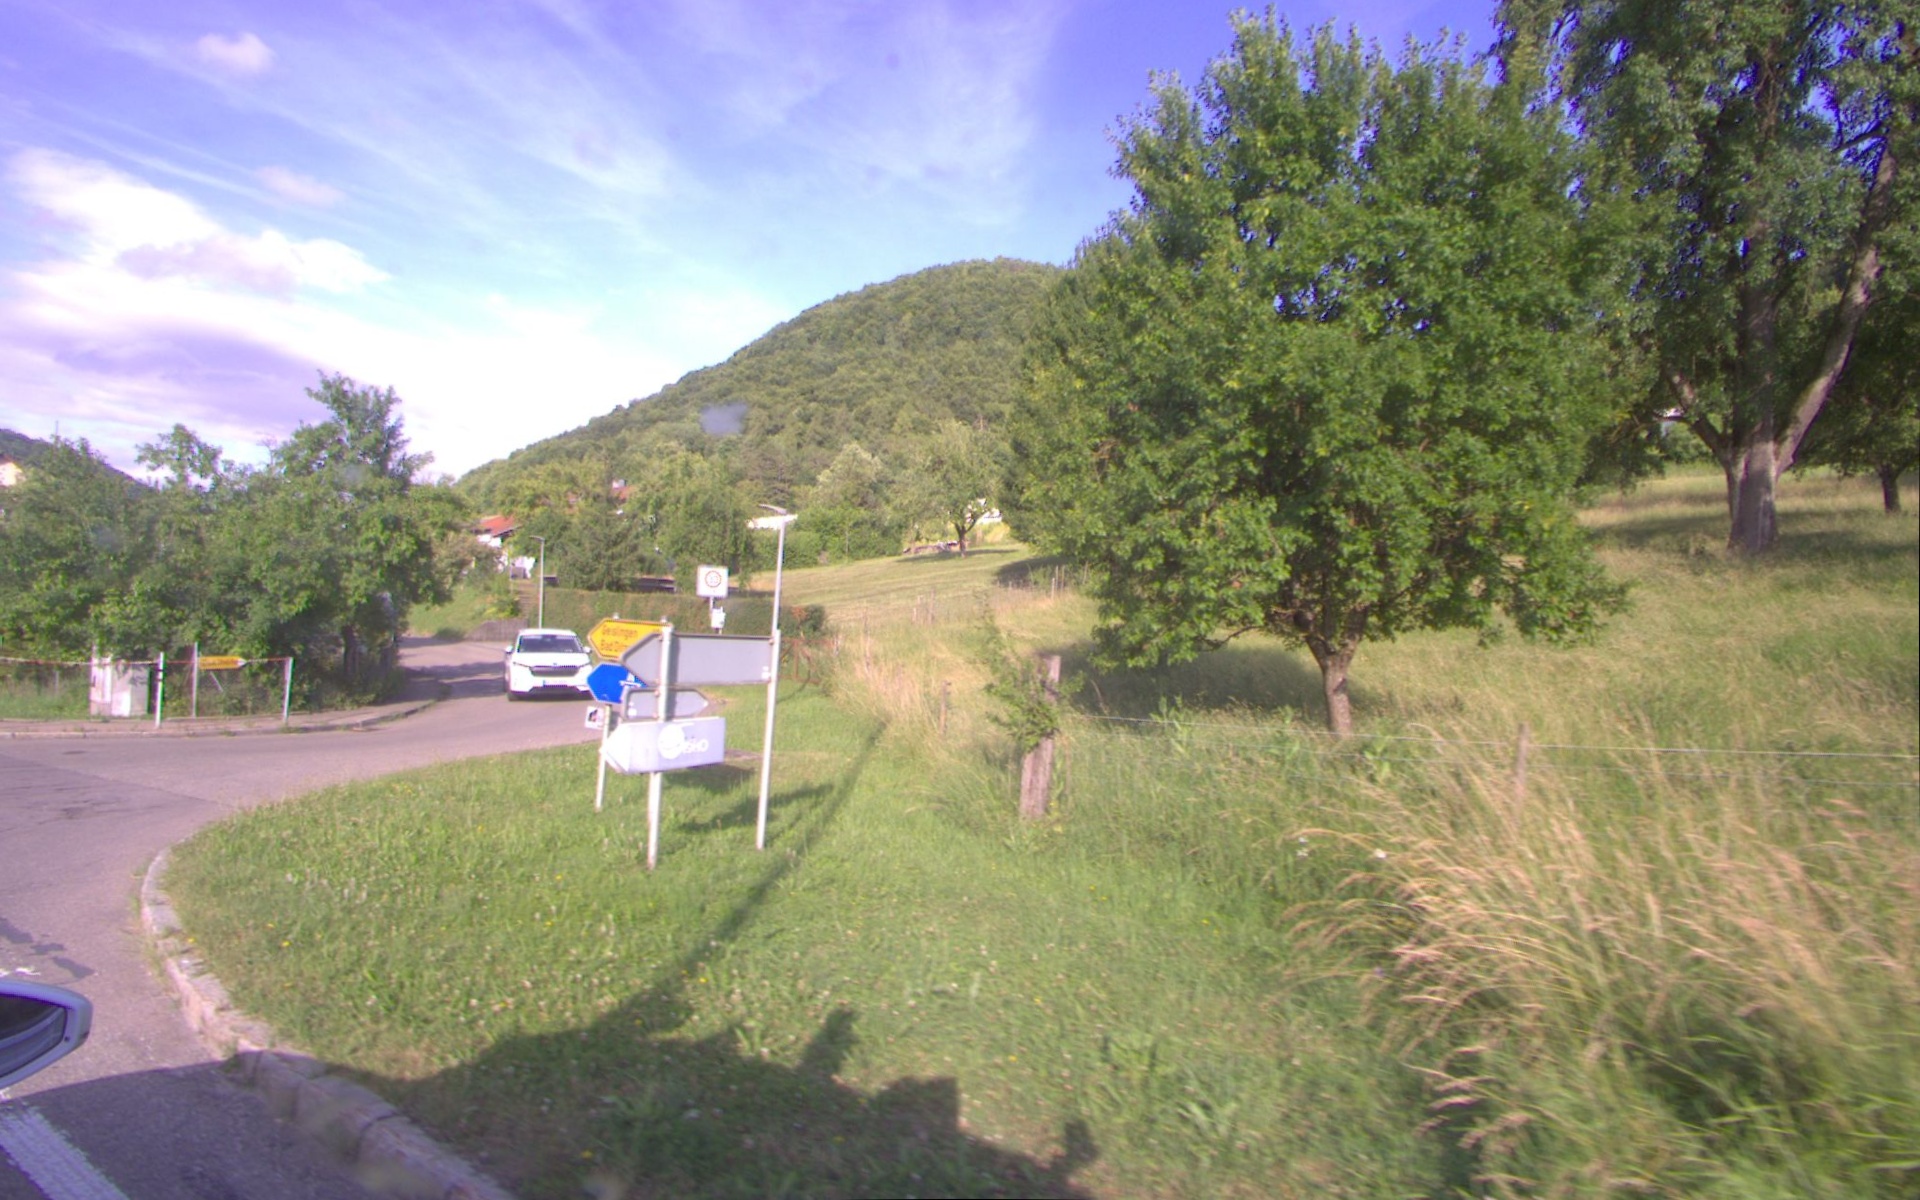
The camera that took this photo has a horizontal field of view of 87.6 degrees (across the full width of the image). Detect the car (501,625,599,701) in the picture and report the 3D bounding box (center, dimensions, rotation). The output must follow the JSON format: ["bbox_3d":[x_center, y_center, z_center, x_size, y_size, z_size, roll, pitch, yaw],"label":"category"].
[{"bbox_3d":[-10.184,1.476,24.663,1.845,1.631,4.552,2,-1,-27],"label":"car"}]
